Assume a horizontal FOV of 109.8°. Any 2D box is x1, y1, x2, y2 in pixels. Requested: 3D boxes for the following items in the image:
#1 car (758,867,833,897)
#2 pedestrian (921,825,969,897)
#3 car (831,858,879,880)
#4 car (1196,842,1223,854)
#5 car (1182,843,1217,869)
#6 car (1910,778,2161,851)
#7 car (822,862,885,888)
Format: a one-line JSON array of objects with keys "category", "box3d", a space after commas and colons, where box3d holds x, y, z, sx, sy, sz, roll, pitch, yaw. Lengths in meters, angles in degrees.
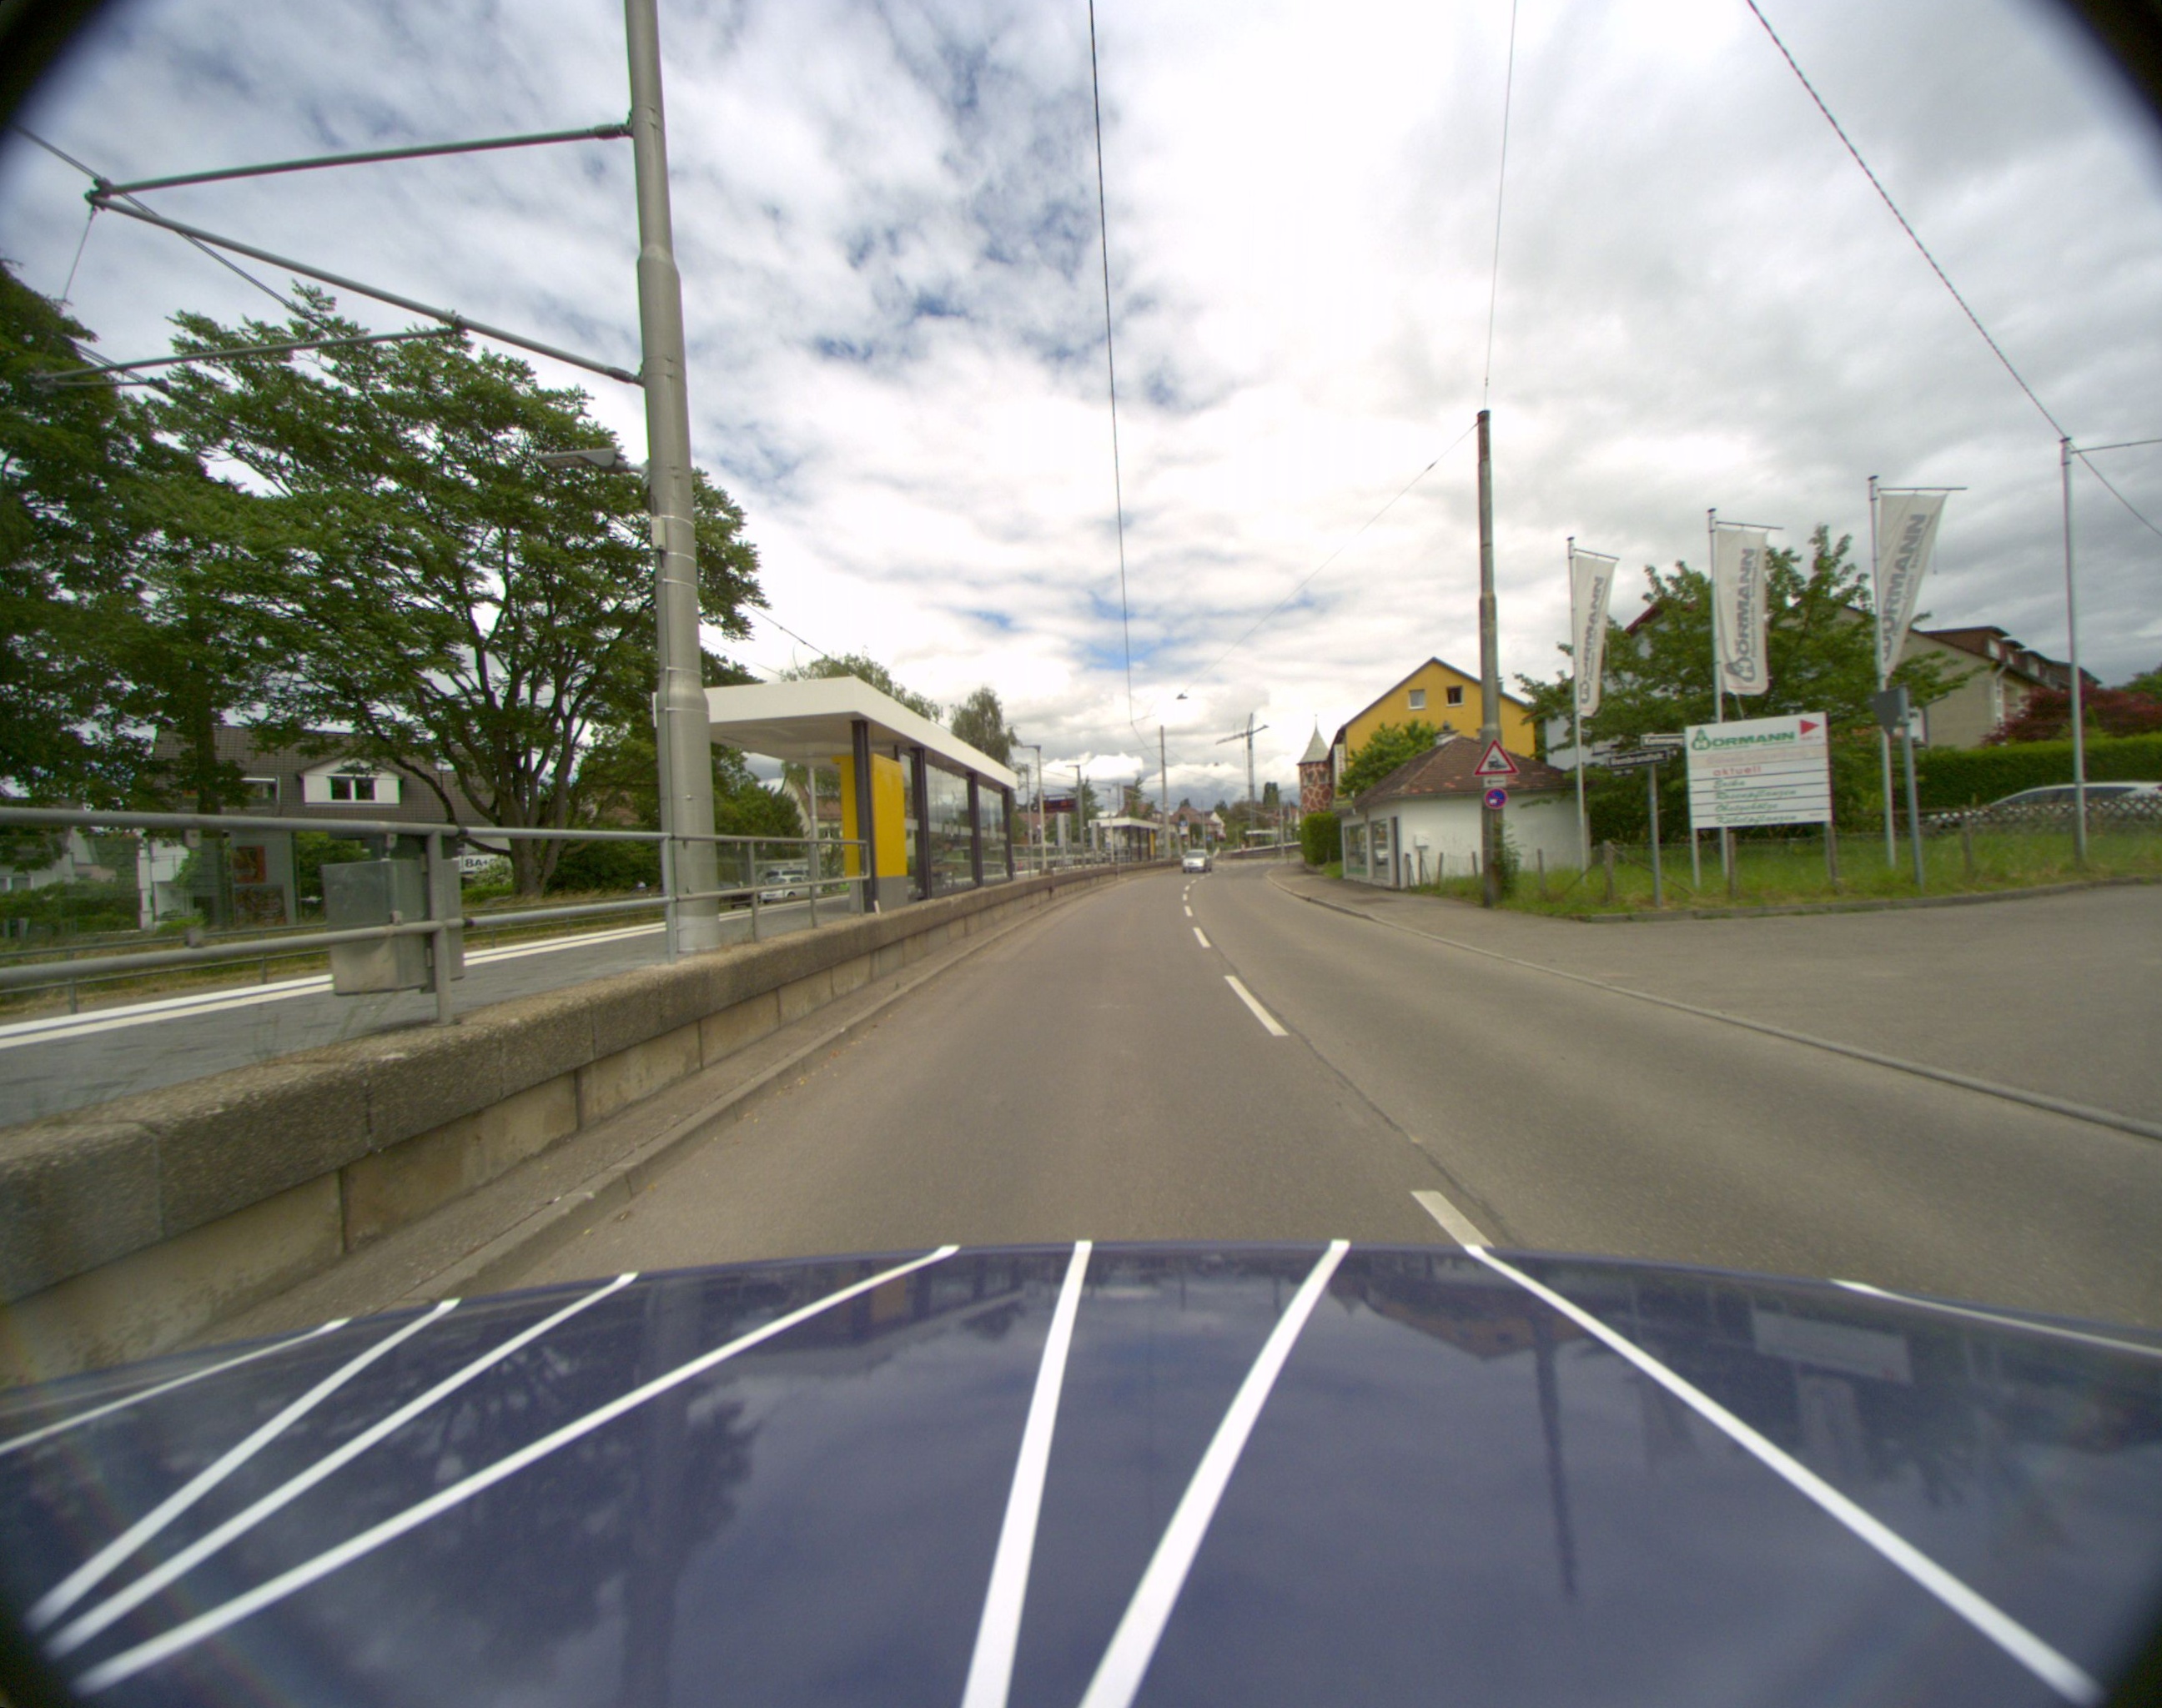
[{"category": "car", "box3d": [-15.505, 1.511, 41.531, 1.997, 1.341, 4.003, -3, 0, 10]}, {"category": "pedestrian", "box3d": [-2.542, 0.124, 14.293, 0.655, 1.304, 0.692, -3, 1, 6]}, {"category": "car", "box3d": [-21.925, 1.442, 73.897, 1.995, 1.851, 4.242, -3, 1, 25]}, {"category": "car", "box3d": [17.383, -0.769, 102.679, 1.736, 1.454, 4.220, -4, 1, -18]}, {"category": "car", "box3d": [8.566, 0.094, 54.800, 1.732, 1.639, 4.231, -3, 1, 18]}, {"category": "car", "box3d": [23.060, -0.909, 18.167, 2.002, 1.525, 3.991, -4, 2, -27]}, {"category": "car", "box3d": [-13.876, 1.245, 46.603, 1.997, 1.341, 4.003, -3, 0, 10]}]
